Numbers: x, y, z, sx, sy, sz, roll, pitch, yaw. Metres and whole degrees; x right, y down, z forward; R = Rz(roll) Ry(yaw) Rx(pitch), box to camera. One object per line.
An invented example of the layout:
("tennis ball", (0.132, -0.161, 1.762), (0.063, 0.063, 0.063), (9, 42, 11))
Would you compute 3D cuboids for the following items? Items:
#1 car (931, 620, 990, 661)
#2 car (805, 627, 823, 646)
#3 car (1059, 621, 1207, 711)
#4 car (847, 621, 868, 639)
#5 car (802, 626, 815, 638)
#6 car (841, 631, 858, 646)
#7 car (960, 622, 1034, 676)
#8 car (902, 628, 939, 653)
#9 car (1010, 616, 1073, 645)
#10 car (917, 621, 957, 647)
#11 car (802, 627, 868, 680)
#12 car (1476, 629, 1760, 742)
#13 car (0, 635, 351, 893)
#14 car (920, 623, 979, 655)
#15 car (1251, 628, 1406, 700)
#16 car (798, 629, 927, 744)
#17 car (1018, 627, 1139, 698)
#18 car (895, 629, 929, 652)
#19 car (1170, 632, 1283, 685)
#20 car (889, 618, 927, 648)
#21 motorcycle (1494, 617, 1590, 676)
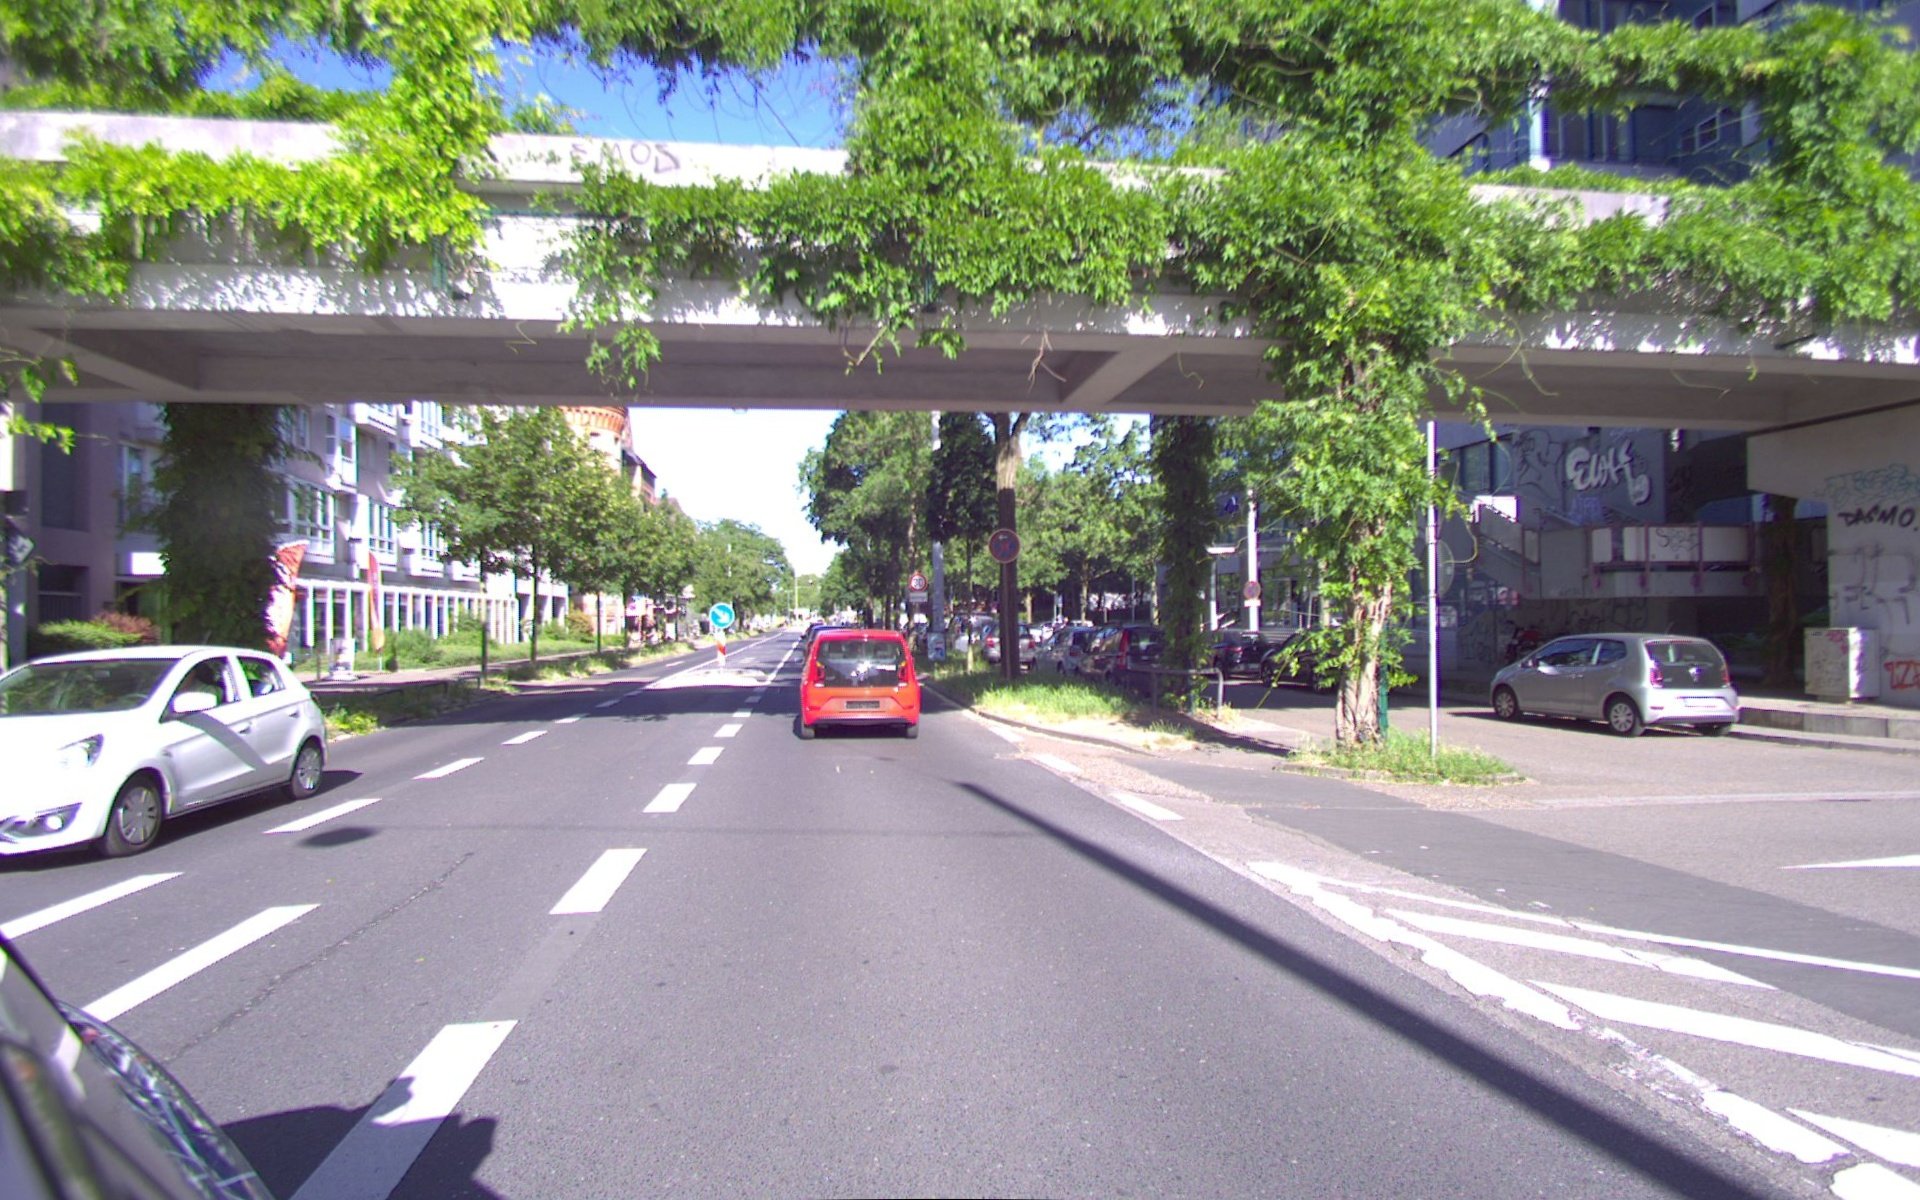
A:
("car", (-0.022, 1.621, 41.136), (1.707, 1.561, 4.457), (-1, -1, -9))
("car", (-12.197, 3.048, 84.696), (1.448, 1.539, 2.821), (0, -2, -7))
("car", (3.251, 1.221, 19.741), (1.718, 1.550, 3.786), (2, -2, -8))
("car", (-9.043, 2.609, 88.861), (1.714, 1.501, 4.006), (-1, -1, -8))
("car", (-21.974, 4.632, 147.027), (1.764, 1.596, 4.196), (-1, -1, -9))
("car", (-10.944, 3.818, 100.008), (1.582, 1.425, 4.006), (-1, -1, -8))
("car", (1.149, 1.579, 33.600), (1.750, 1.659, 4.090), (0, -1, -8))
("car", (-2.281, 2.283, 57.562), (1.631, 1.354, 3.977), (-1, -1, -10))
("car", (5.490, 2.045, 68.235), (3.941, 1.726, 1.706), (-3, -1, -3))
("car", (-1.199, 1.735, 51.862), (1.631, 1.236, 3.853), (-1, -1, -7))
("car", (-3.809, 1.557, 30.754), (1.842, 1.469, 4.600), (0, -1, -8))
("car", (9.910, 1.212, 15.600), (1.585, 1.497, 3.655), (0, -2, -9))
("car", (-6.688, 1.082, 8.162), (1.638, 1.541, 4.107), (-1, -1, -9))
("car", (-0.545, 1.792, 47.018), (1.692, 1.394, 4.505), (-1, -1, -14))
("car", (8.547, 1.435, 23.893), (1.710, 1.542, 4.007), (0, -2, -8))
("car", (-1.512, 1.151, 14.713), (1.630, 1.439, 3.513), (0, -2, -9))
("car", (2.689, 1.403, 23.986), (1.631, 1.459, 4.291), (3, -2, -10))
("car", (-2.986, 2.484, 62.507), (1.654, 1.343, 4.195), (-1, -1, -8))
("car", (7.692, 1.665, 29.553), (1.659, 1.414, 3.810), (0, -2, -11))
("car", (-3.538, 2.186, 67.774), (2.038, 1.923, 4.534), (-1, -1, -10))
("motorcycle", (13.162, 1.035, 22.983), (0.720, 1.280, 2.057), (0, -1, -9))
